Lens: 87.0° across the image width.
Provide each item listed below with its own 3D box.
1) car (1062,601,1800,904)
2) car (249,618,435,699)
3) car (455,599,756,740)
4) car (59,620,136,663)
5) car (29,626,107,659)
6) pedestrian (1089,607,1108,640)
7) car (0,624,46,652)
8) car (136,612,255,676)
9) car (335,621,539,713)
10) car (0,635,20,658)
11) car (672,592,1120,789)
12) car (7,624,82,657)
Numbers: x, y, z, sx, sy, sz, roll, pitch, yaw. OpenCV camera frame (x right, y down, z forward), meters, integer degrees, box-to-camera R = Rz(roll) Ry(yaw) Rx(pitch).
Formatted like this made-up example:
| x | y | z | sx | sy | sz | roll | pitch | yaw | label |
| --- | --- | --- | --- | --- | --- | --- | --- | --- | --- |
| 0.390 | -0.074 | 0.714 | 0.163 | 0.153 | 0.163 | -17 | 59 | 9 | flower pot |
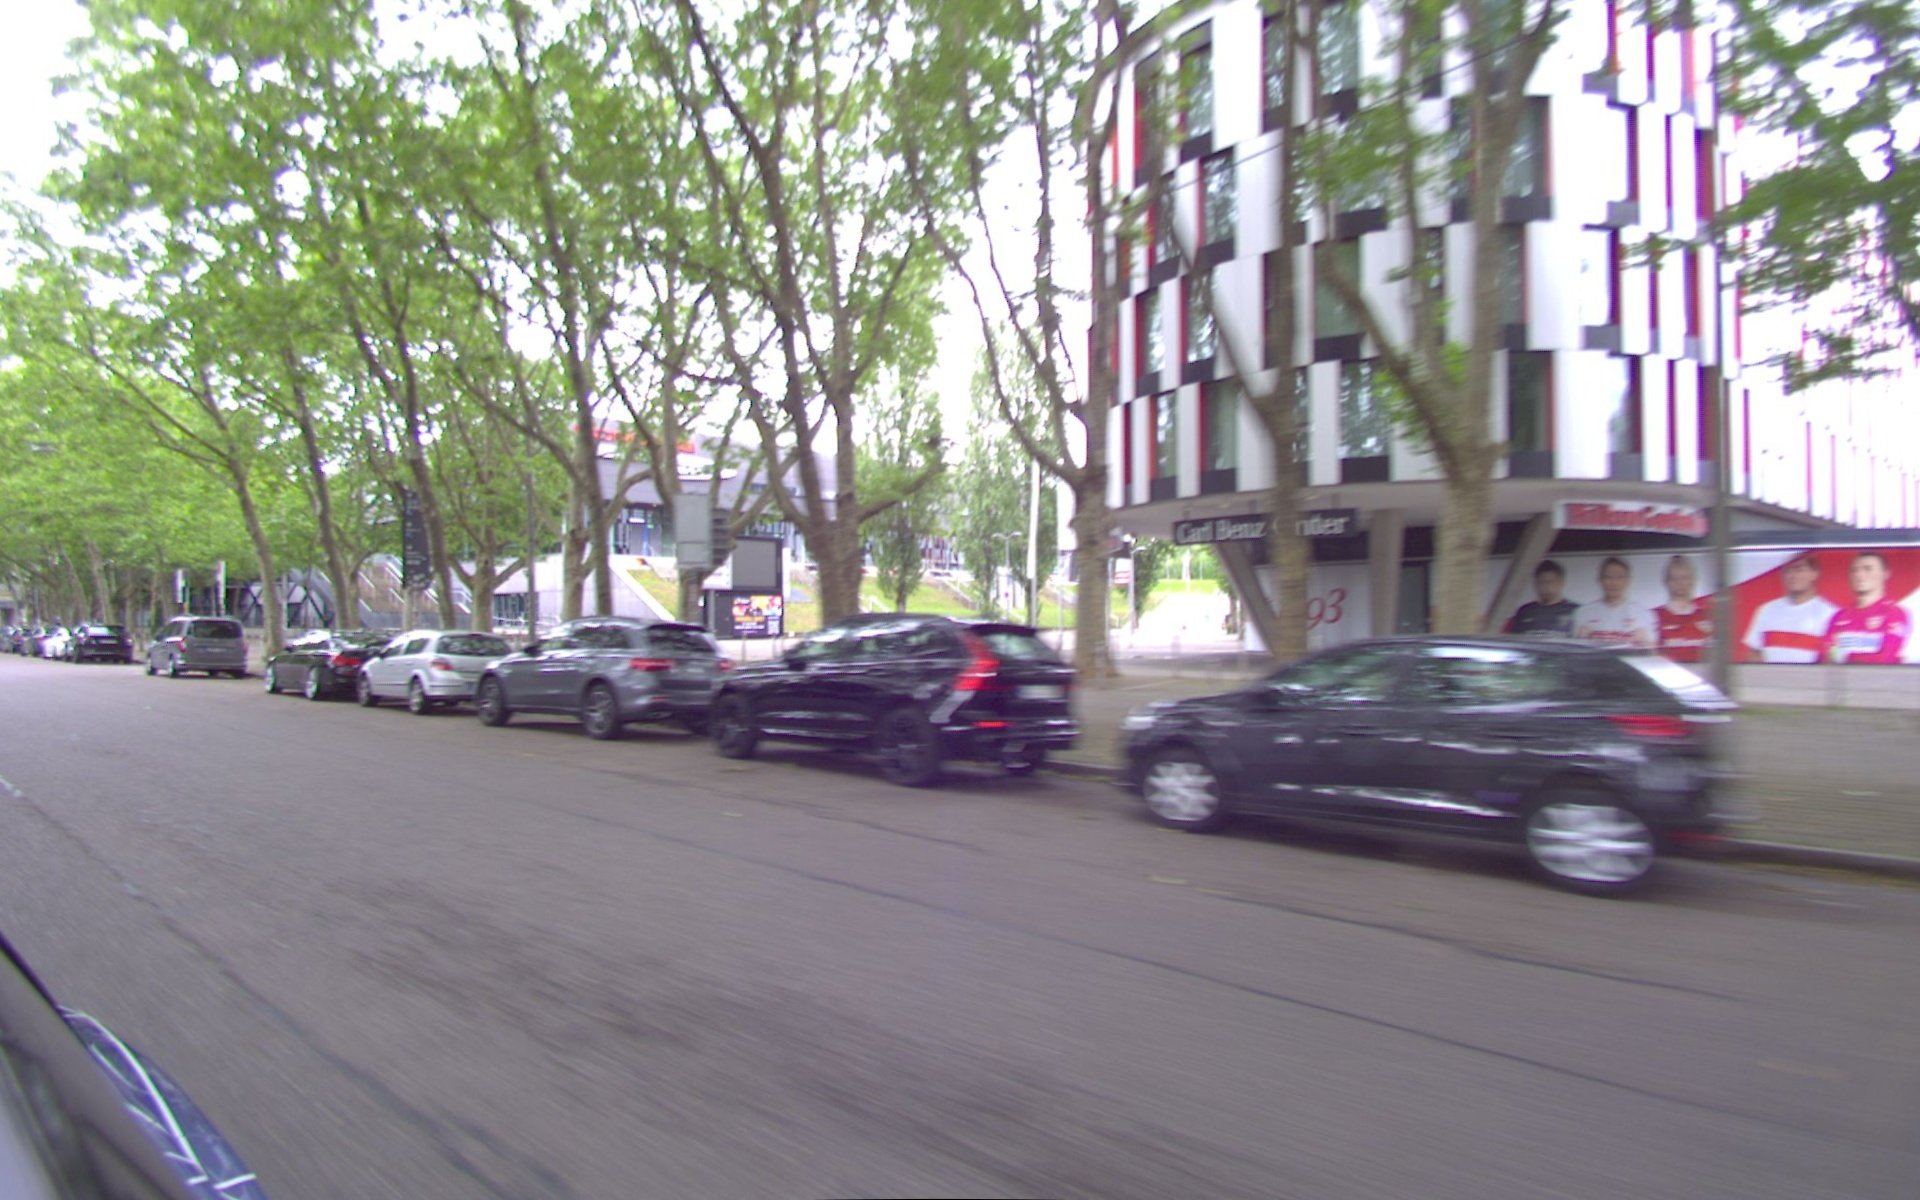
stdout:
| x | y | z | sx | sy | sz | roll | pitch | yaw | label |
| --- | --- | --- | --- | --- | --- | --- | --- | --- | --- |
| 3.071 | 0.860 | 7.228 | 4.440 | 1.506 | 1.814 | -2 | -5 | 42 | car |
| -13.394 | 1.225 | 21.791 | 5.144 | 1.542 | 2.061 | -2 | -3 | 42 | car |
| -5.216 | 0.951 | 14.612 | 4.642 | 1.731 | 1.851 | -1 | -4 | 38 | car |
| -34.574 | 1.667 | 40.536 | 4.344 | 1.606 | 1.798 | -2 | -5 | 43 | car |
| -38.782 | 1.853 | 43.941 | 5.001 | 1.373 | 1.797 | -2 | -4 | 40 | car |
| 7.058 | 1.194 | 51.499 | 0.693 | 1.703 | 0.636 | -2 | -2 | 43 | pedestrian |
| -51.691 | 2.078 | 55.515 | 4.328 | 1.392 | 1.690 | -2 | -5 | 41 | car |
| -23.273 | 1.330 | 30.745 | 4.609 | 1.809 | 1.876 | -1 | -4 | 41 | car |
| -9.565 | 1.175 | 18.362 | 4.228 | 1.467 | 1.814 | -2 | -5 | 41 | car |
| -58.824 | 2.813 | 61.840 | 4.000 | 1.372 | 1.675 | -2 | -6 | 43 | car |
| -0.887 | 0.876 | 10.920 | 4.927 | 1.656 | 1.916 | -2 | -5 | 42 | car |
| -43.665 | 1.903 | 48.221 | 4.986 | 1.496 | 1.802 | -1 | -3 | 38 | car |
